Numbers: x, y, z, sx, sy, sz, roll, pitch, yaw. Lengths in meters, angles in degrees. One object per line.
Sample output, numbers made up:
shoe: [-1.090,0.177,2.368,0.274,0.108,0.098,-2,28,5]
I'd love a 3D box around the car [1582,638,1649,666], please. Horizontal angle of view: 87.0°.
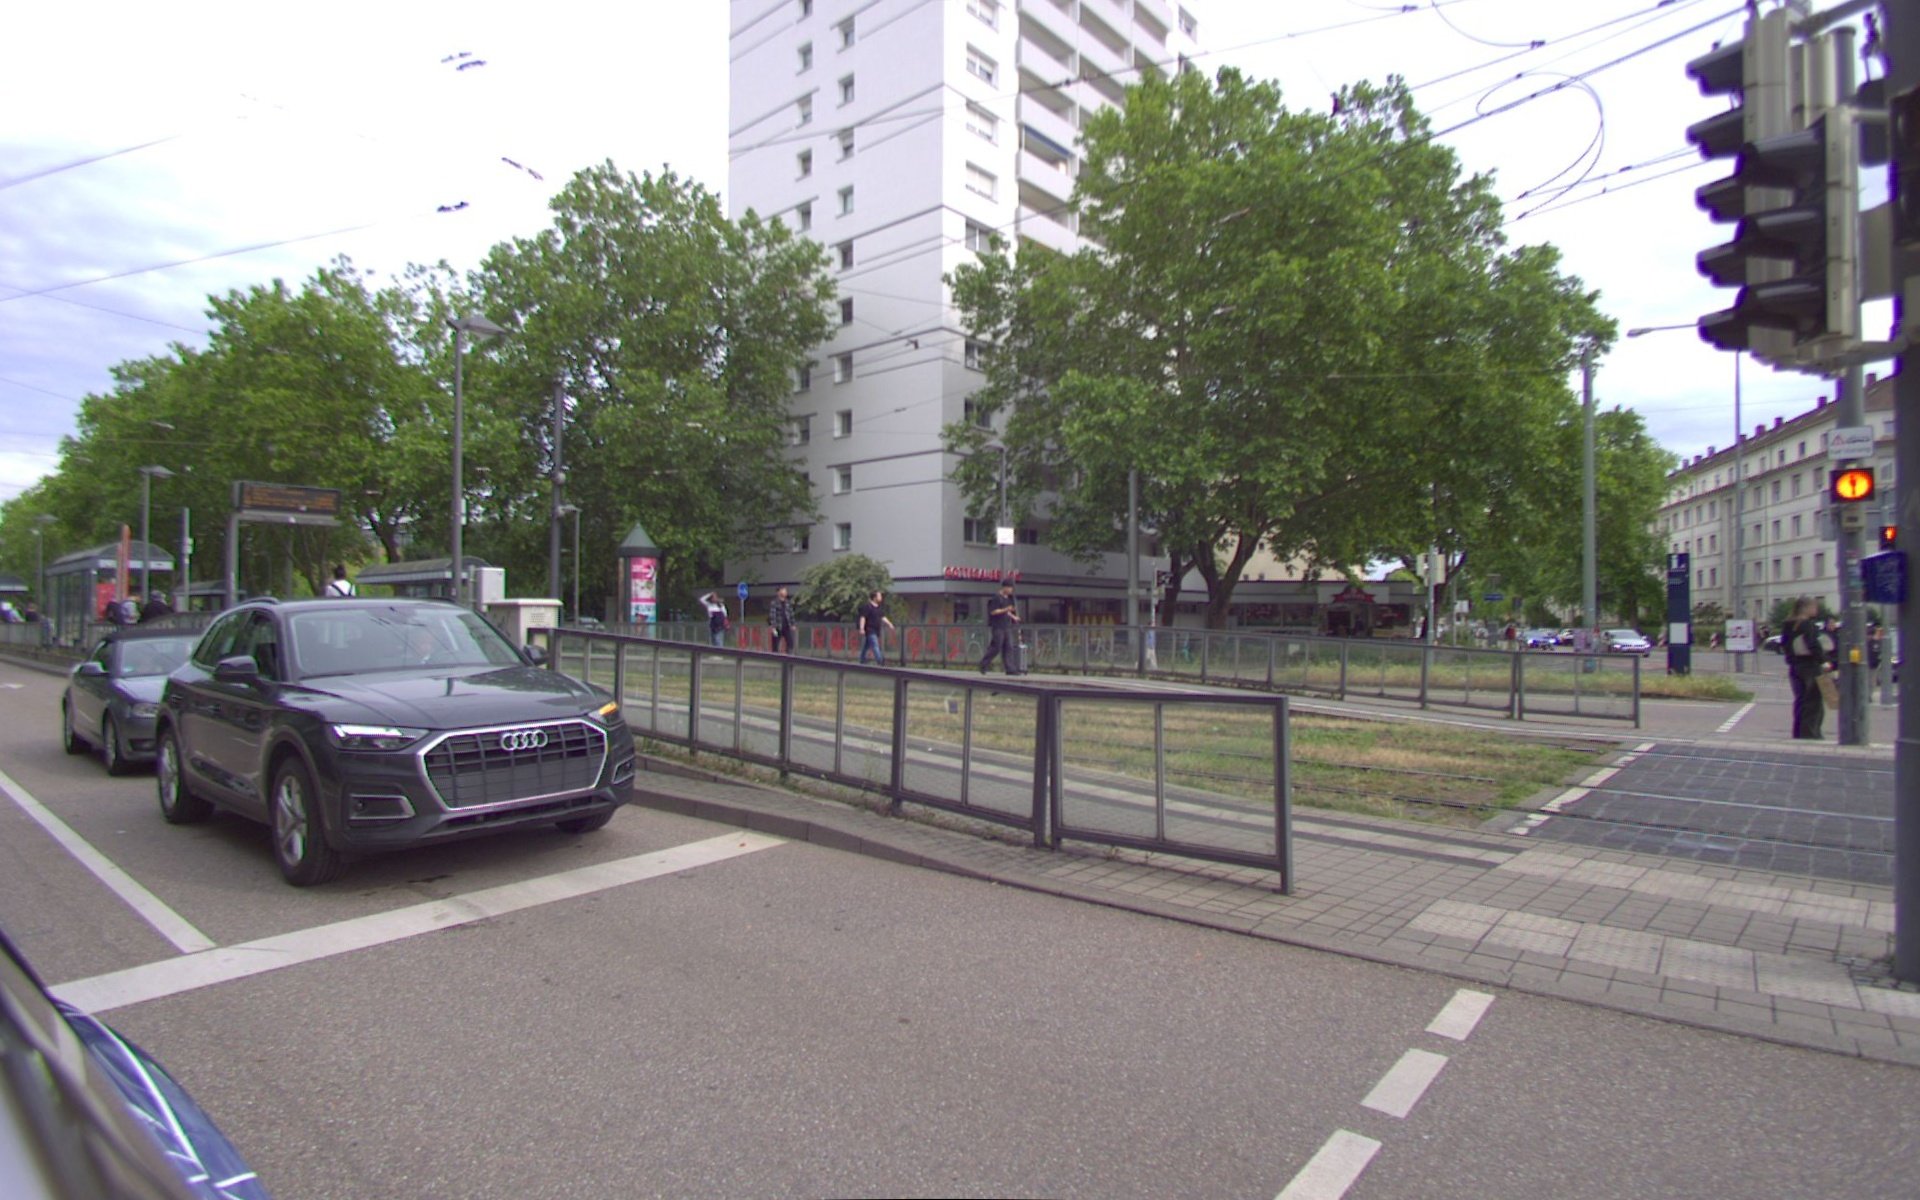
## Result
car: [34.846,2.737,53.931,1.745,1.431,3.981,0,-2,14]

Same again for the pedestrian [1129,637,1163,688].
pedestrian: [5.750,1.919,31.325,0.853,1.520,0.547,-2,-1,42]

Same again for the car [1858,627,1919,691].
car: [27.391,1.733,29.247,1.660,1.732,3.695,-1,-4,35]

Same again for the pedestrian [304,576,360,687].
pedestrian: [-10.236,0.503,16.503,0.534,1.764,0.654,-2,-1,42]

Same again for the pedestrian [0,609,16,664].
pedestrian: [-36.256,1.367,38.440,0.821,2.066,0.577,-2,-1,45]

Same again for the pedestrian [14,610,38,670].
pedestrian: [-32.425,1.372,35.119,0.821,2.066,0.577,-2,-1,45]

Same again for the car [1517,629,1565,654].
car: [41.353,2.931,72.118,1.918,1.697,3.980,0,-2,15]

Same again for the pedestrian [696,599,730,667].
pedestrian: [-6.250,0.830,25.623,0.565,1.681,0.614,-2,-1,42]

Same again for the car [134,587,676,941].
car: [-3.994,0.810,6.918,4.366,1.660,1.891,-2,-1,42]

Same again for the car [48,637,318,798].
car: [-8.589,1.131,11.058,4.012,1.385,1.616,-2,-1,42]

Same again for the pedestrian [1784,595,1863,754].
pedestrian: [9.964,0.830,11.679,0.627,1.763,0.647,-2,-1,43]

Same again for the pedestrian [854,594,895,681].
pedestrian: [-1.774,0.765,21.053,0.548,1.764,0.614,-2,-1,42]

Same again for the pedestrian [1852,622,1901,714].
pedestrian: [16.505,1.219,18.230,0.499,1.624,0.366,-1,-1,9]

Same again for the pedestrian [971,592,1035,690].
pedestrian: [0.777,0.727,18.265,0.878,1.708,0.733,-2,-1,42]

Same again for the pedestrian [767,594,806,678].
pedestrian: [-3.786,0.771,22.052,0.534,1.803,0.614,-2,-1,42]

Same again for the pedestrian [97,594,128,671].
pedestrian: [-22.991,0.874,27.443,0.821,2.066,0.577,-2,-1,45]

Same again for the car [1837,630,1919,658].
car: [51.469,2.399,56.147,1.773,1.497,4.007,0,-2,-9]

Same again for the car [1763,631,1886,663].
car: [46.773,2.510,54.932,4.820,1.676,1.977,-1,-2,34]

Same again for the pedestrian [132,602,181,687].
pedestrian: [-17.434,0.960,21.955,0.652,1.805,0.535,-1,-1,-9]

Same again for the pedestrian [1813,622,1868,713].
pedestrian: [15.999,1.222,18.393,0.518,1.624,0.525,-1,-1,9]

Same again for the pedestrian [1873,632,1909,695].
pedestrian: [20.582,1.393,22.377,0.413,1.375,0.389,-1,-1,14]

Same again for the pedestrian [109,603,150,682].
pedestrian: [-19.660,0.992,23.953,0.821,1.805,0.674,-2,-1,45]
